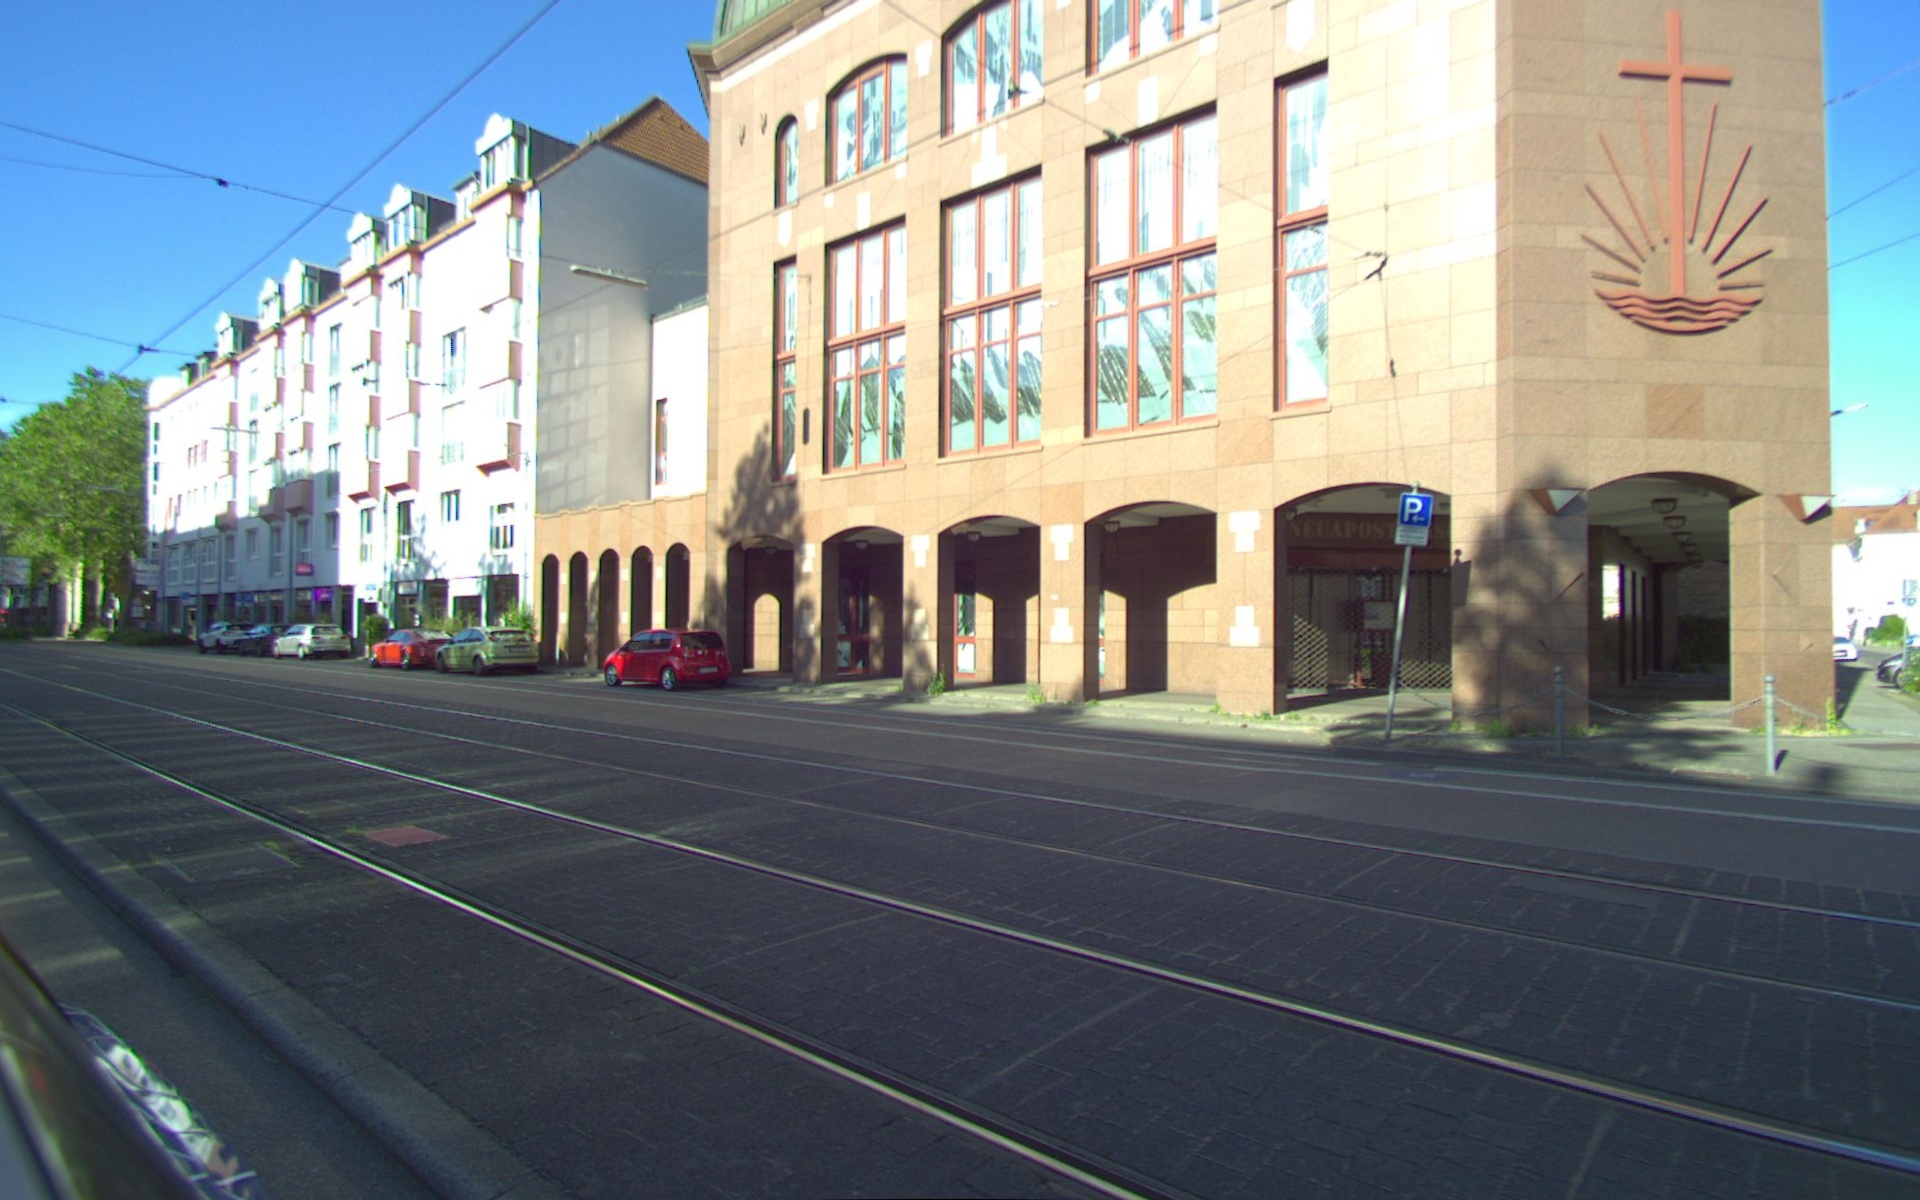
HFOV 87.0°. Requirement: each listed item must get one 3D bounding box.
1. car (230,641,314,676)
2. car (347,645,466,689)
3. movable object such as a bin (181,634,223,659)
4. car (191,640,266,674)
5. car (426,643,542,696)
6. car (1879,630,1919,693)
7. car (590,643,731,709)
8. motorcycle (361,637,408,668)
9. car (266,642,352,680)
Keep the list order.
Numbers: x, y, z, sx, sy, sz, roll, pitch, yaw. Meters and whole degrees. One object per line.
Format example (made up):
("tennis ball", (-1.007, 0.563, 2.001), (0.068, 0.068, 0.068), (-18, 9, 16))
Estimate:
("car", (-30.970, 2.618, 45.484), (4.822, 1.469, 1.882), (-2, -3, 40))
("car", (-18.889, 2.232, 34.444), (4.816, 1.335, 1.940), (-2, -1, 40))
("movable object such as a bin", (-63.749, 3.900, 85.165), (2.604, 2.029, 1.179), (0, -3, -26))
("car", (-36.351, 2.799, 50.282), (4.364, 1.626, 1.899), (-2, -3, 38))
("car", (-14.722, 2.092, 31.200), (4.287, 1.479, 1.652), (-2, -1, 41))
("car", (25.975, 1.621, 25.505), (3.994, 1.591, 1.729), (1, -1, 38))
("car", (-7.444, 1.825, 25.004), (3.618, 1.433, 1.642), (-2, -1, 41))
("motorcycle", (-23.100, 2.115, 40.612), (2.068, 1.203, 0.458), (-2, -1, 23))
("car", (-27.153, 2.504, 42.168), (4.201, 1.486, 1.734), (-2, -3, 38))
